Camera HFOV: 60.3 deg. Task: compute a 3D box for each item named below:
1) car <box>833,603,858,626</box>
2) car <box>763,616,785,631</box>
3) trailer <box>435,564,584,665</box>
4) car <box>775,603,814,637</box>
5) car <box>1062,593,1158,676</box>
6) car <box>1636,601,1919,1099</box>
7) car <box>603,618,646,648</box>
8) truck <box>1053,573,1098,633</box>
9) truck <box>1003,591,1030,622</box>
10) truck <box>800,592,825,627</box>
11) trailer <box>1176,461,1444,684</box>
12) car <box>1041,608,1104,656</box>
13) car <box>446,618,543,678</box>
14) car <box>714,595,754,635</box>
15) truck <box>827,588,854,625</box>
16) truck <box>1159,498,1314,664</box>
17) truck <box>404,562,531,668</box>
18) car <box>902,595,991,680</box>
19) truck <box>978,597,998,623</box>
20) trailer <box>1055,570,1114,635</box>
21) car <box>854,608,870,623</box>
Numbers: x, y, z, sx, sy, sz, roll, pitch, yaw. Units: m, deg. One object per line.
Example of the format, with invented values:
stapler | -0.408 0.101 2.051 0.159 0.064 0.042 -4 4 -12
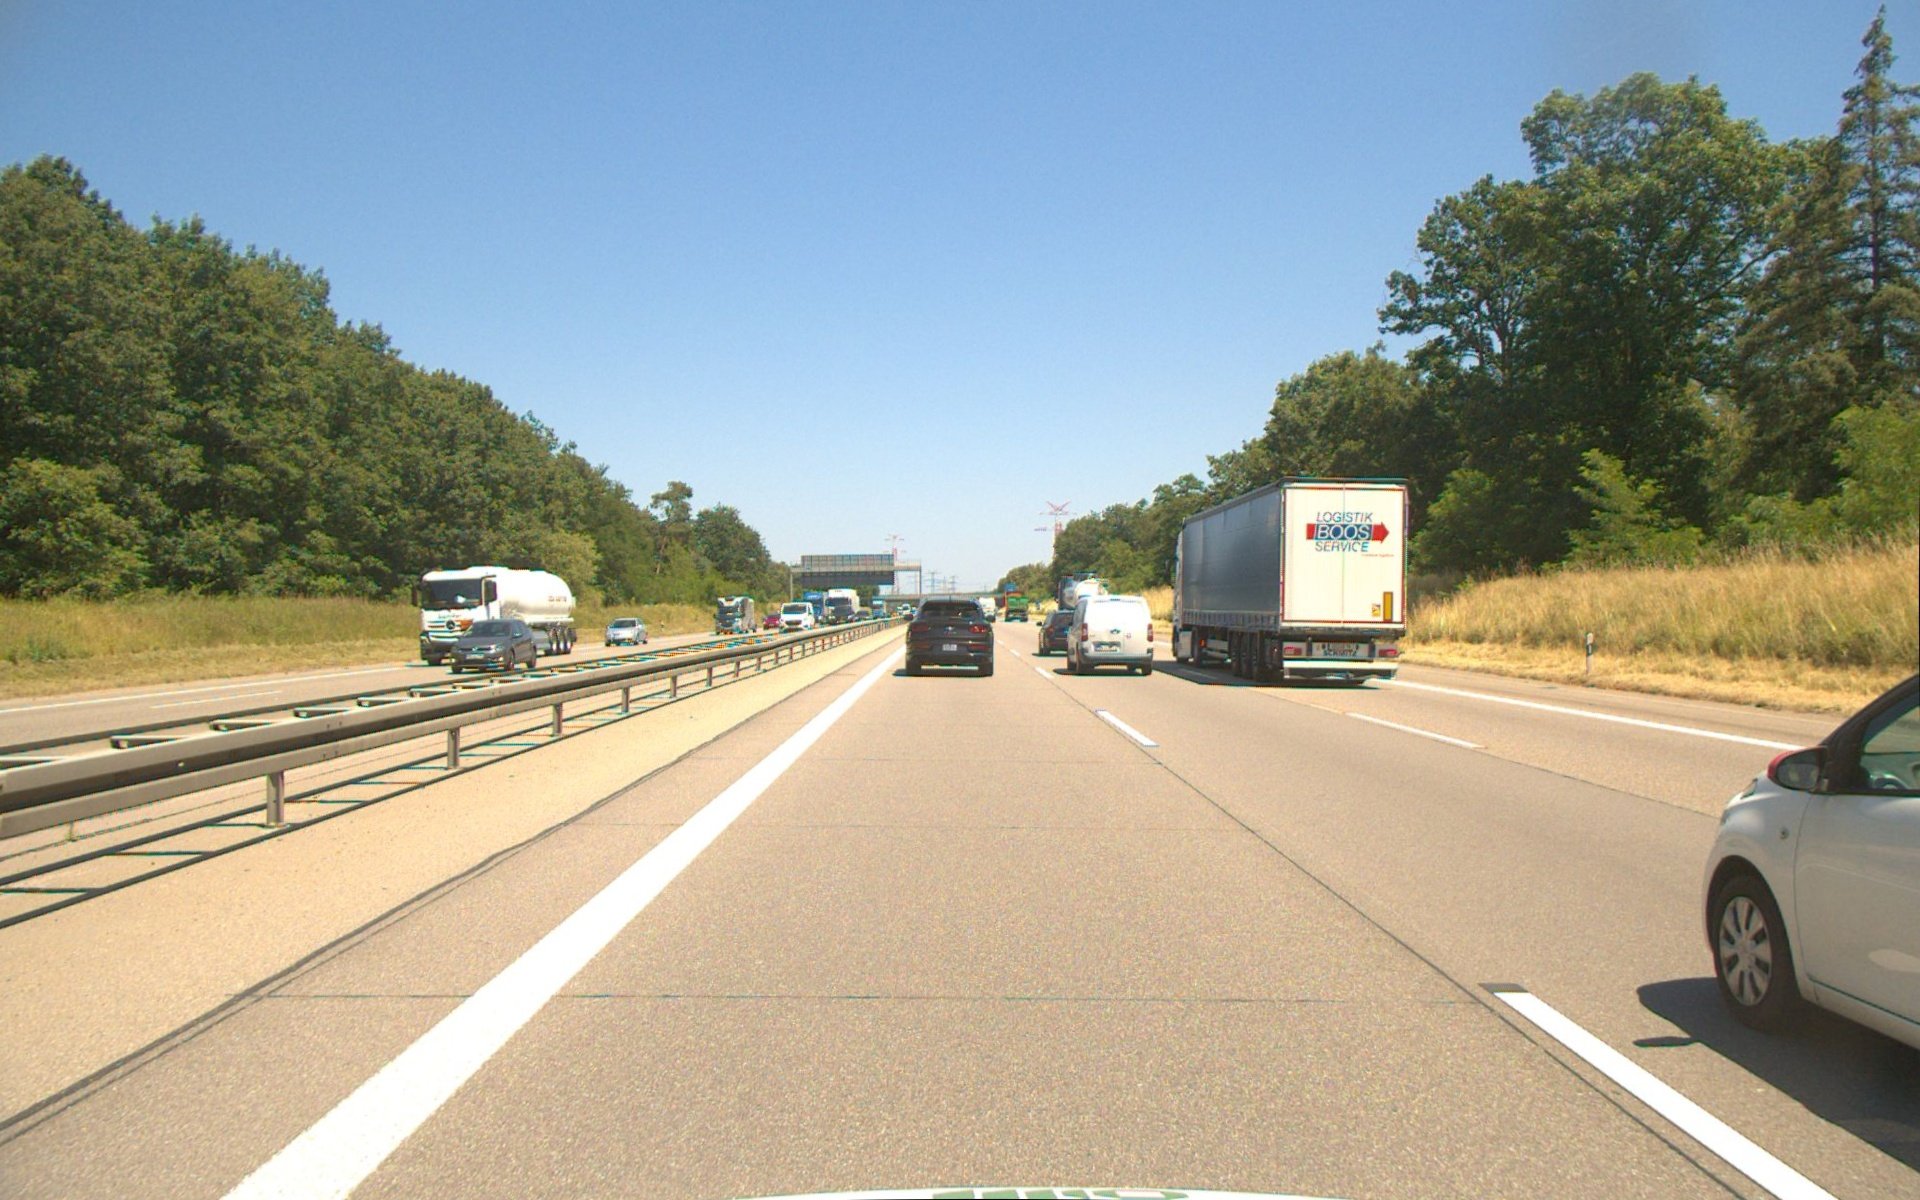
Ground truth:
car | -10.148 1.261 146.953 1.838 1.880 5.833 -2 0 -1
car | -17.774 2.254 158.347 1.606 1.298 4.132 -2 0 -1
trailer | -17.527 0.542 65.313 2.628 3.494 11.798 -2 0 -1
car | -10.342 1.239 103.780 1.955 1.981 5.740 -2 0 -1
car | 3.558 0.803 39.937 1.777 1.859 5.109 0 0 -1
car | 3.770 0.770 5.143 1.673 1.521 4.023 0 0 0
car | -18.071 1.769 89.209 1.537 1.490 4.034 -2 0 -1
truck | 7.728 0.246 111.148 2.628 3.904 4.443 1 -1 -1
truck | 7.077 0.825 209.314 2.928 3.794 10.087 1 0 -1
truck | -18.622 1.174 209.087 2.615 4.242 6.187 -2 0 -1
trailer | 7.710 -0.481 39.008 3.219 4.293 13.562 1 0 -1
car | 3.645 1.018 53.998 1.738 1.498 3.871 0 0 -1
car | -13.080 1.321 46.674 1.599 1.499 3.936 -2 0 -1
car | -17.321 1.109 127.175 2.168 2.907 6.452 -2 0 -1
truck | -13.674 0.780 190.143 2.615 4.059 6.339 -2 0 -1
truck | 7.608 -0.466 46.284 3.219 4.293 6.006 1 -1 -1
truck | -17.512 0.526 59.256 2.628 3.494 6.143 -2 0 -1
car | -0.346 0.791 38.432 1.901 1.783 5.812 0 0 -1
truck | 3.166 1.152 188.781 2.018 2.965 7.001 0 0 -1
trailer | 7.815 0.194 105.437 2.628 3.904 12.007 1 0 -1
car | -10.792 1.690 182.233 1.584 1.508 4.624 -2 0 -1
